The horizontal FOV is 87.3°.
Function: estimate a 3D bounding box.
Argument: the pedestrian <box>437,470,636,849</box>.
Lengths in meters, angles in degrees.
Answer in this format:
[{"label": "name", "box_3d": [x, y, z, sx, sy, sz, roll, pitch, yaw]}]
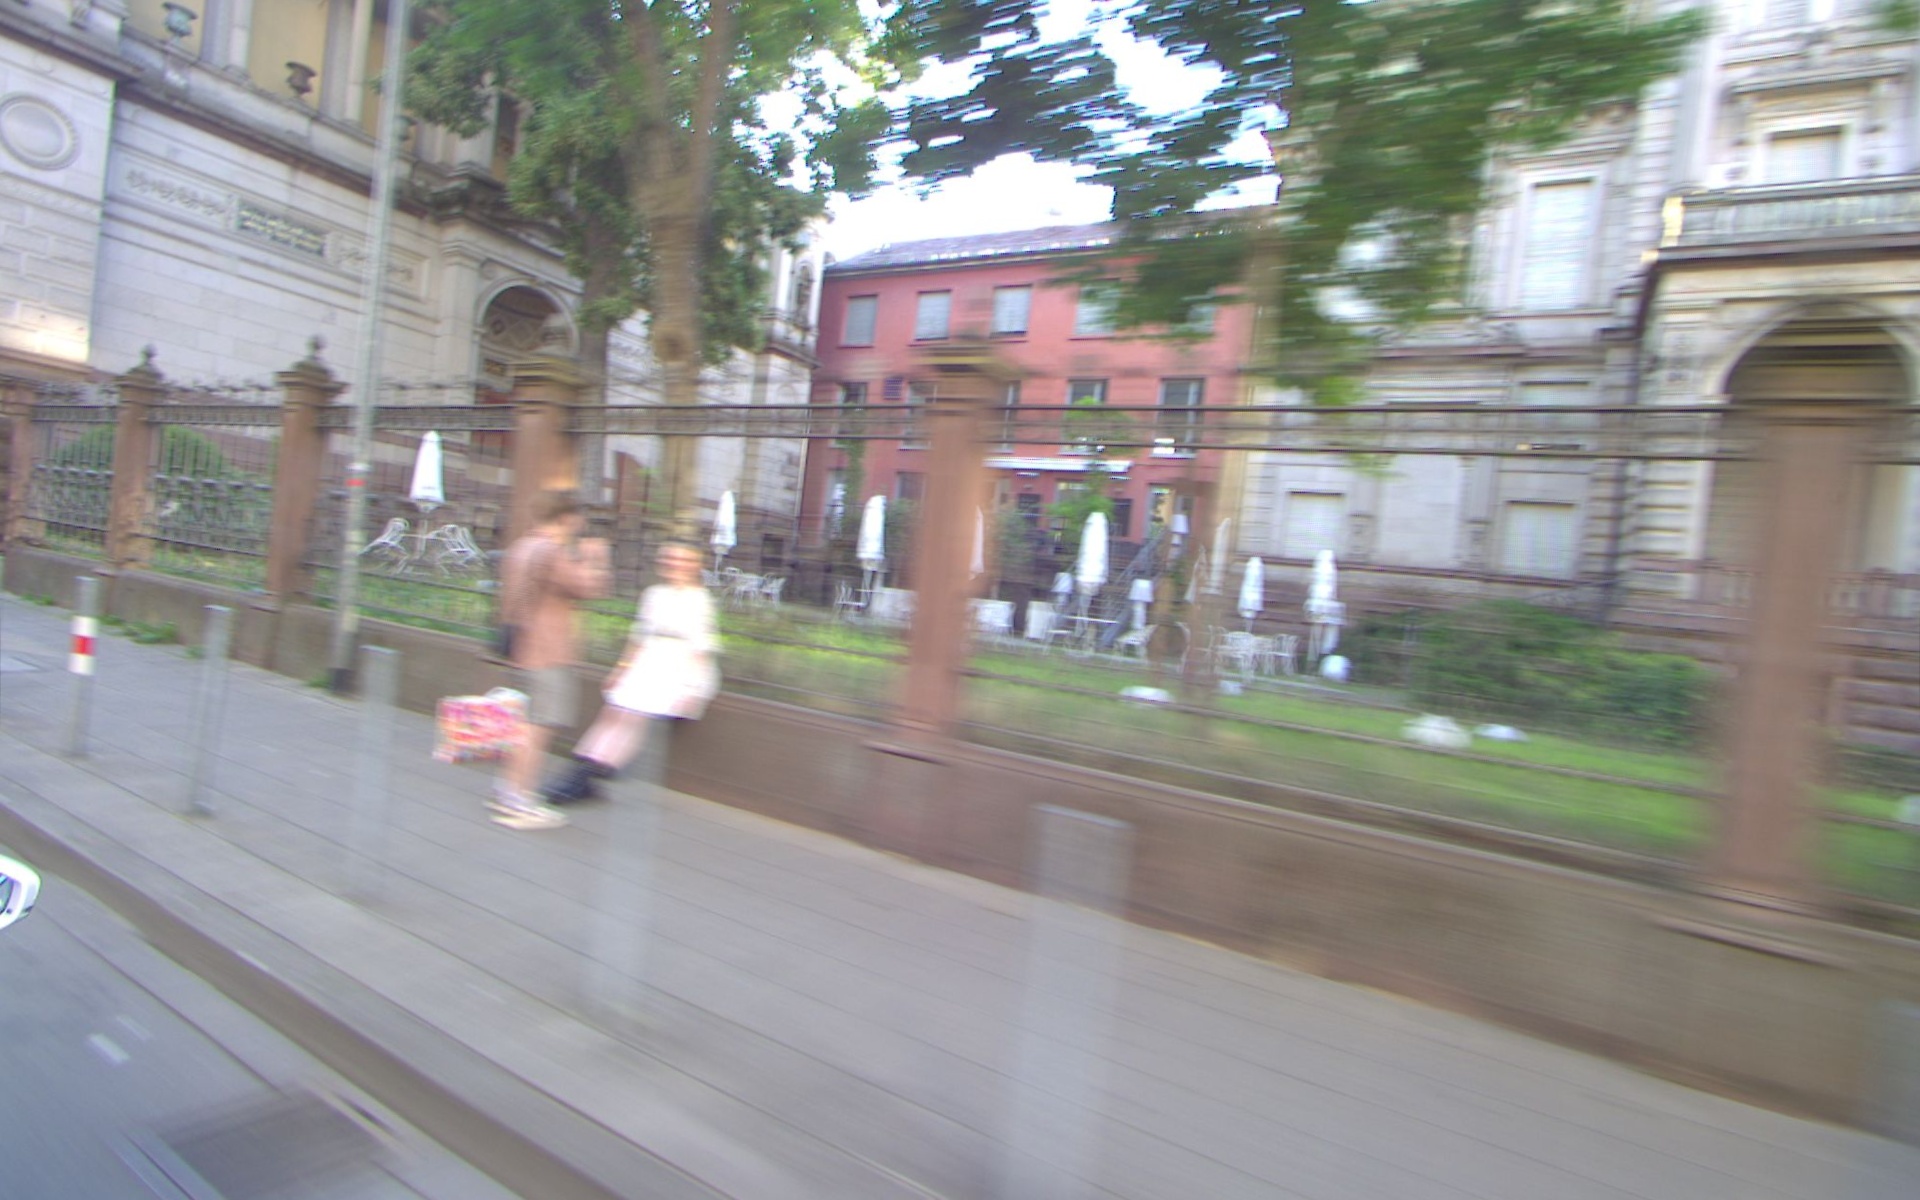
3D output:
[{"label": "pedestrian", "box_3d": [-2.038, 0.265, 4.854, 0.607, 1.680, 0.485, 7, 3, 24]}]

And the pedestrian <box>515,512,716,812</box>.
[{"label": "pedestrian", "box_3d": [-1.918, 0.323, 5.648, 0.608, 1.520, 0.750, 7, 3, 26]}]
